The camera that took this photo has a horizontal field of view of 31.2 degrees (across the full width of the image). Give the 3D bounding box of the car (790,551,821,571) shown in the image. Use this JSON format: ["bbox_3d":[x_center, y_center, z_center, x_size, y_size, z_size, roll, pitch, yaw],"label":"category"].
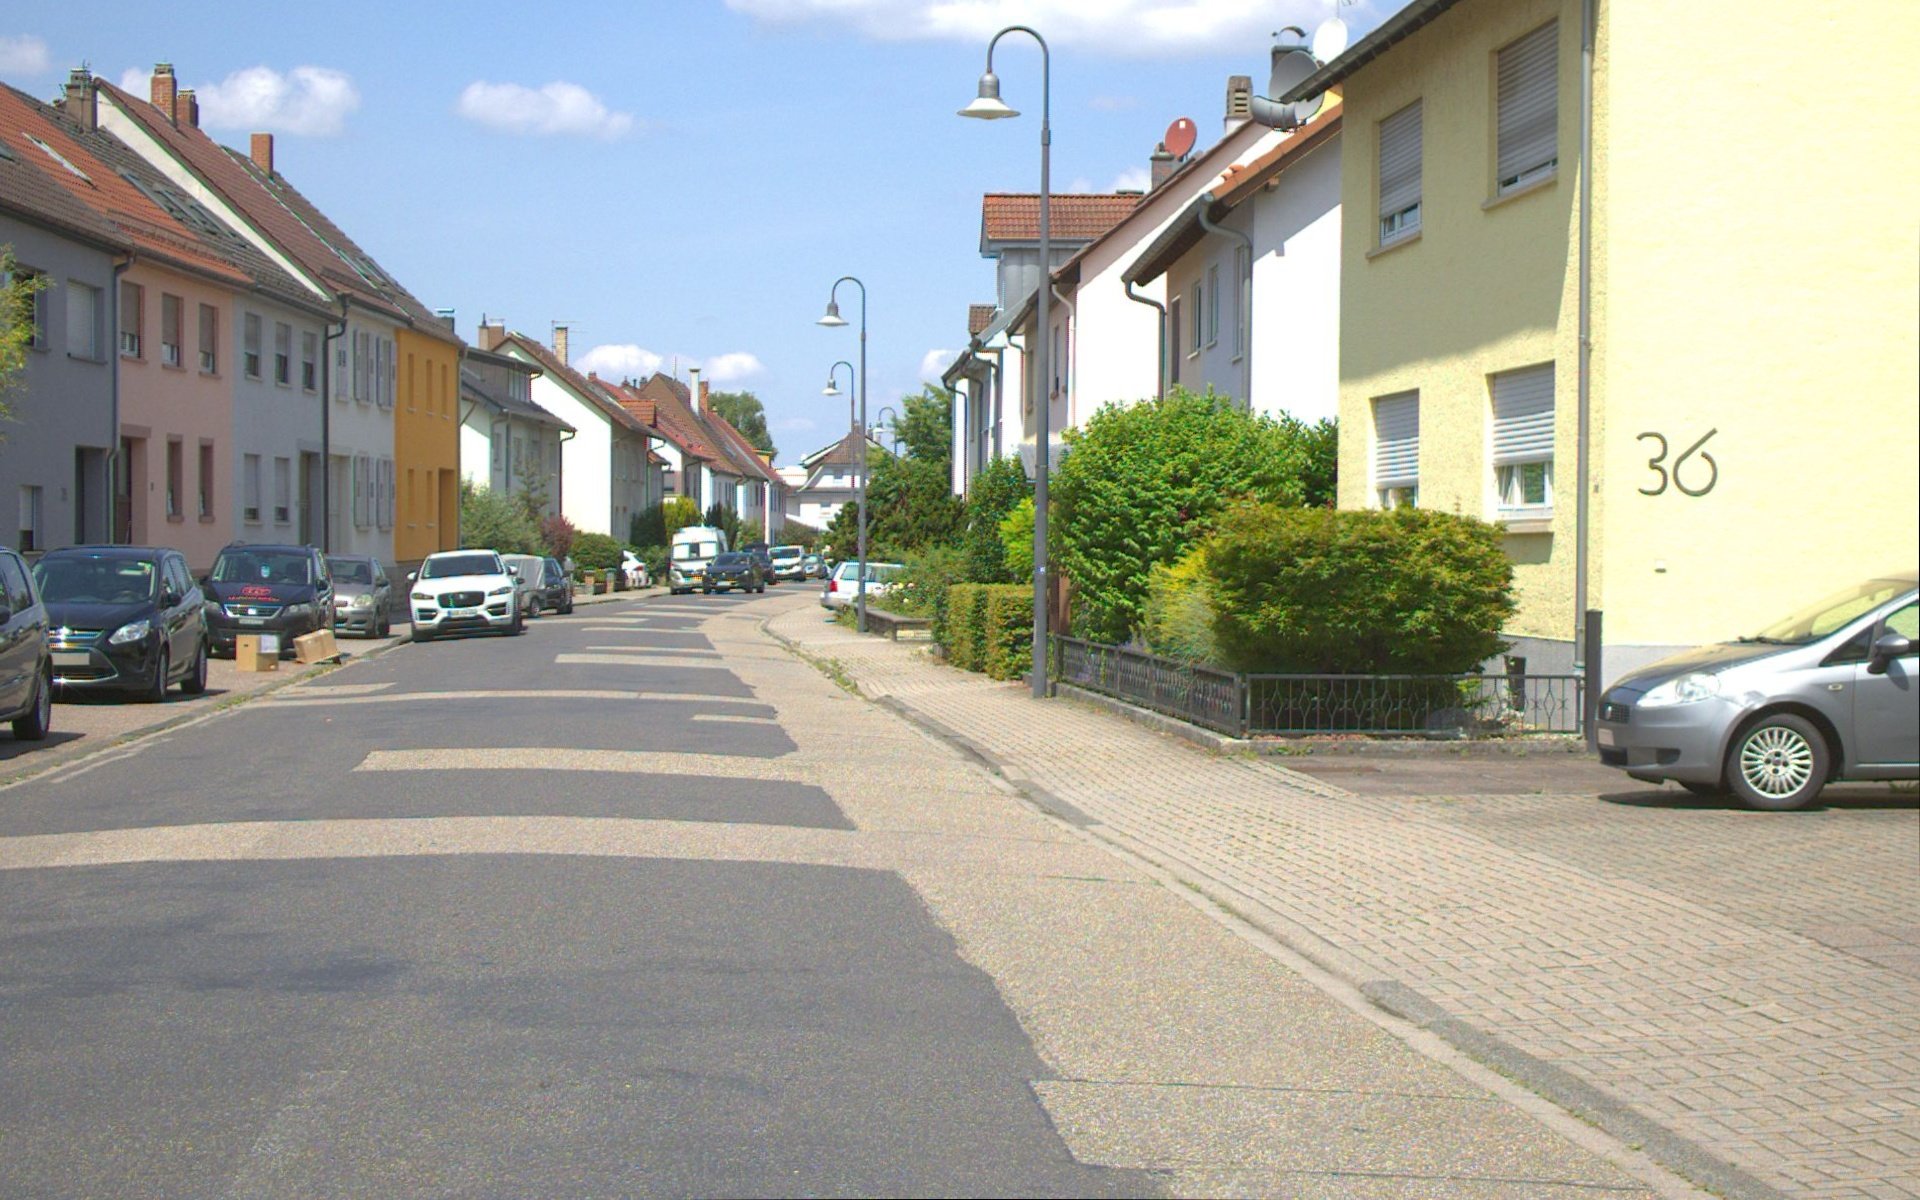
[{"bbox_3d":[-9.261,-2.347,206.662,1.691,1.129,3.771,2,0,-1],"label":"car"}]

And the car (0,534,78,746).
[{"bbox_3d":[-8.212,0.264,26.926,1.779,1.603,4.001,2,1,-4],"label":"car"}]

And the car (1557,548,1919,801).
[{"bbox_3d":[5.851,0.418,21.164,3.986,1.468,1.747,0,1,-4],"label":"car"}]

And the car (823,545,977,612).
[{"bbox_3d":[-1.424,-0.500,80.982,3.523,1.459,1.628,2,0,-4],"label":"car"}]

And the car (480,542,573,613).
[{"bbox_3d":[-10.765,-0.571,85.579,1.850,1.653,4.000,2,1,-2],"label":"car"}]

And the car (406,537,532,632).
[{"bbox_3d":[-9.183,-0.312,64.569,1.850,1.653,4.000,2,1,-2],"label":"car"}]

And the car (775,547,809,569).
[{"bbox_3d":[-9.130,-2.271,187.185,1.691,1.129,3.771,2,0,-1],"label":"car"}]

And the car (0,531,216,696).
[{"bbox_3d":[-9.143,0.105,36.569,1.779,1.603,4.001,2,1,-4],"label":"car"}]

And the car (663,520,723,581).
[{"bbox_3d":[-10.429,-1.921,134.612,2.045,2.304,3.771,2,0,-1],"label":"car"}]

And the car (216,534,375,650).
[{"bbox_3d":[-9.876,-0.145,51.337,1.810,1.603,4.001,2,1,-4],"label":"car"}]

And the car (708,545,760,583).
[{"bbox_3d":[-8.380,-1.329,127.456,1.691,1.337,3.771,2,0,-1],"label":"car"}]

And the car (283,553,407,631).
[{"bbox_3d":[-11.310,-0.175,63.442,1.672,1.331,3.722,2,1,-2],"label":"car"}]
